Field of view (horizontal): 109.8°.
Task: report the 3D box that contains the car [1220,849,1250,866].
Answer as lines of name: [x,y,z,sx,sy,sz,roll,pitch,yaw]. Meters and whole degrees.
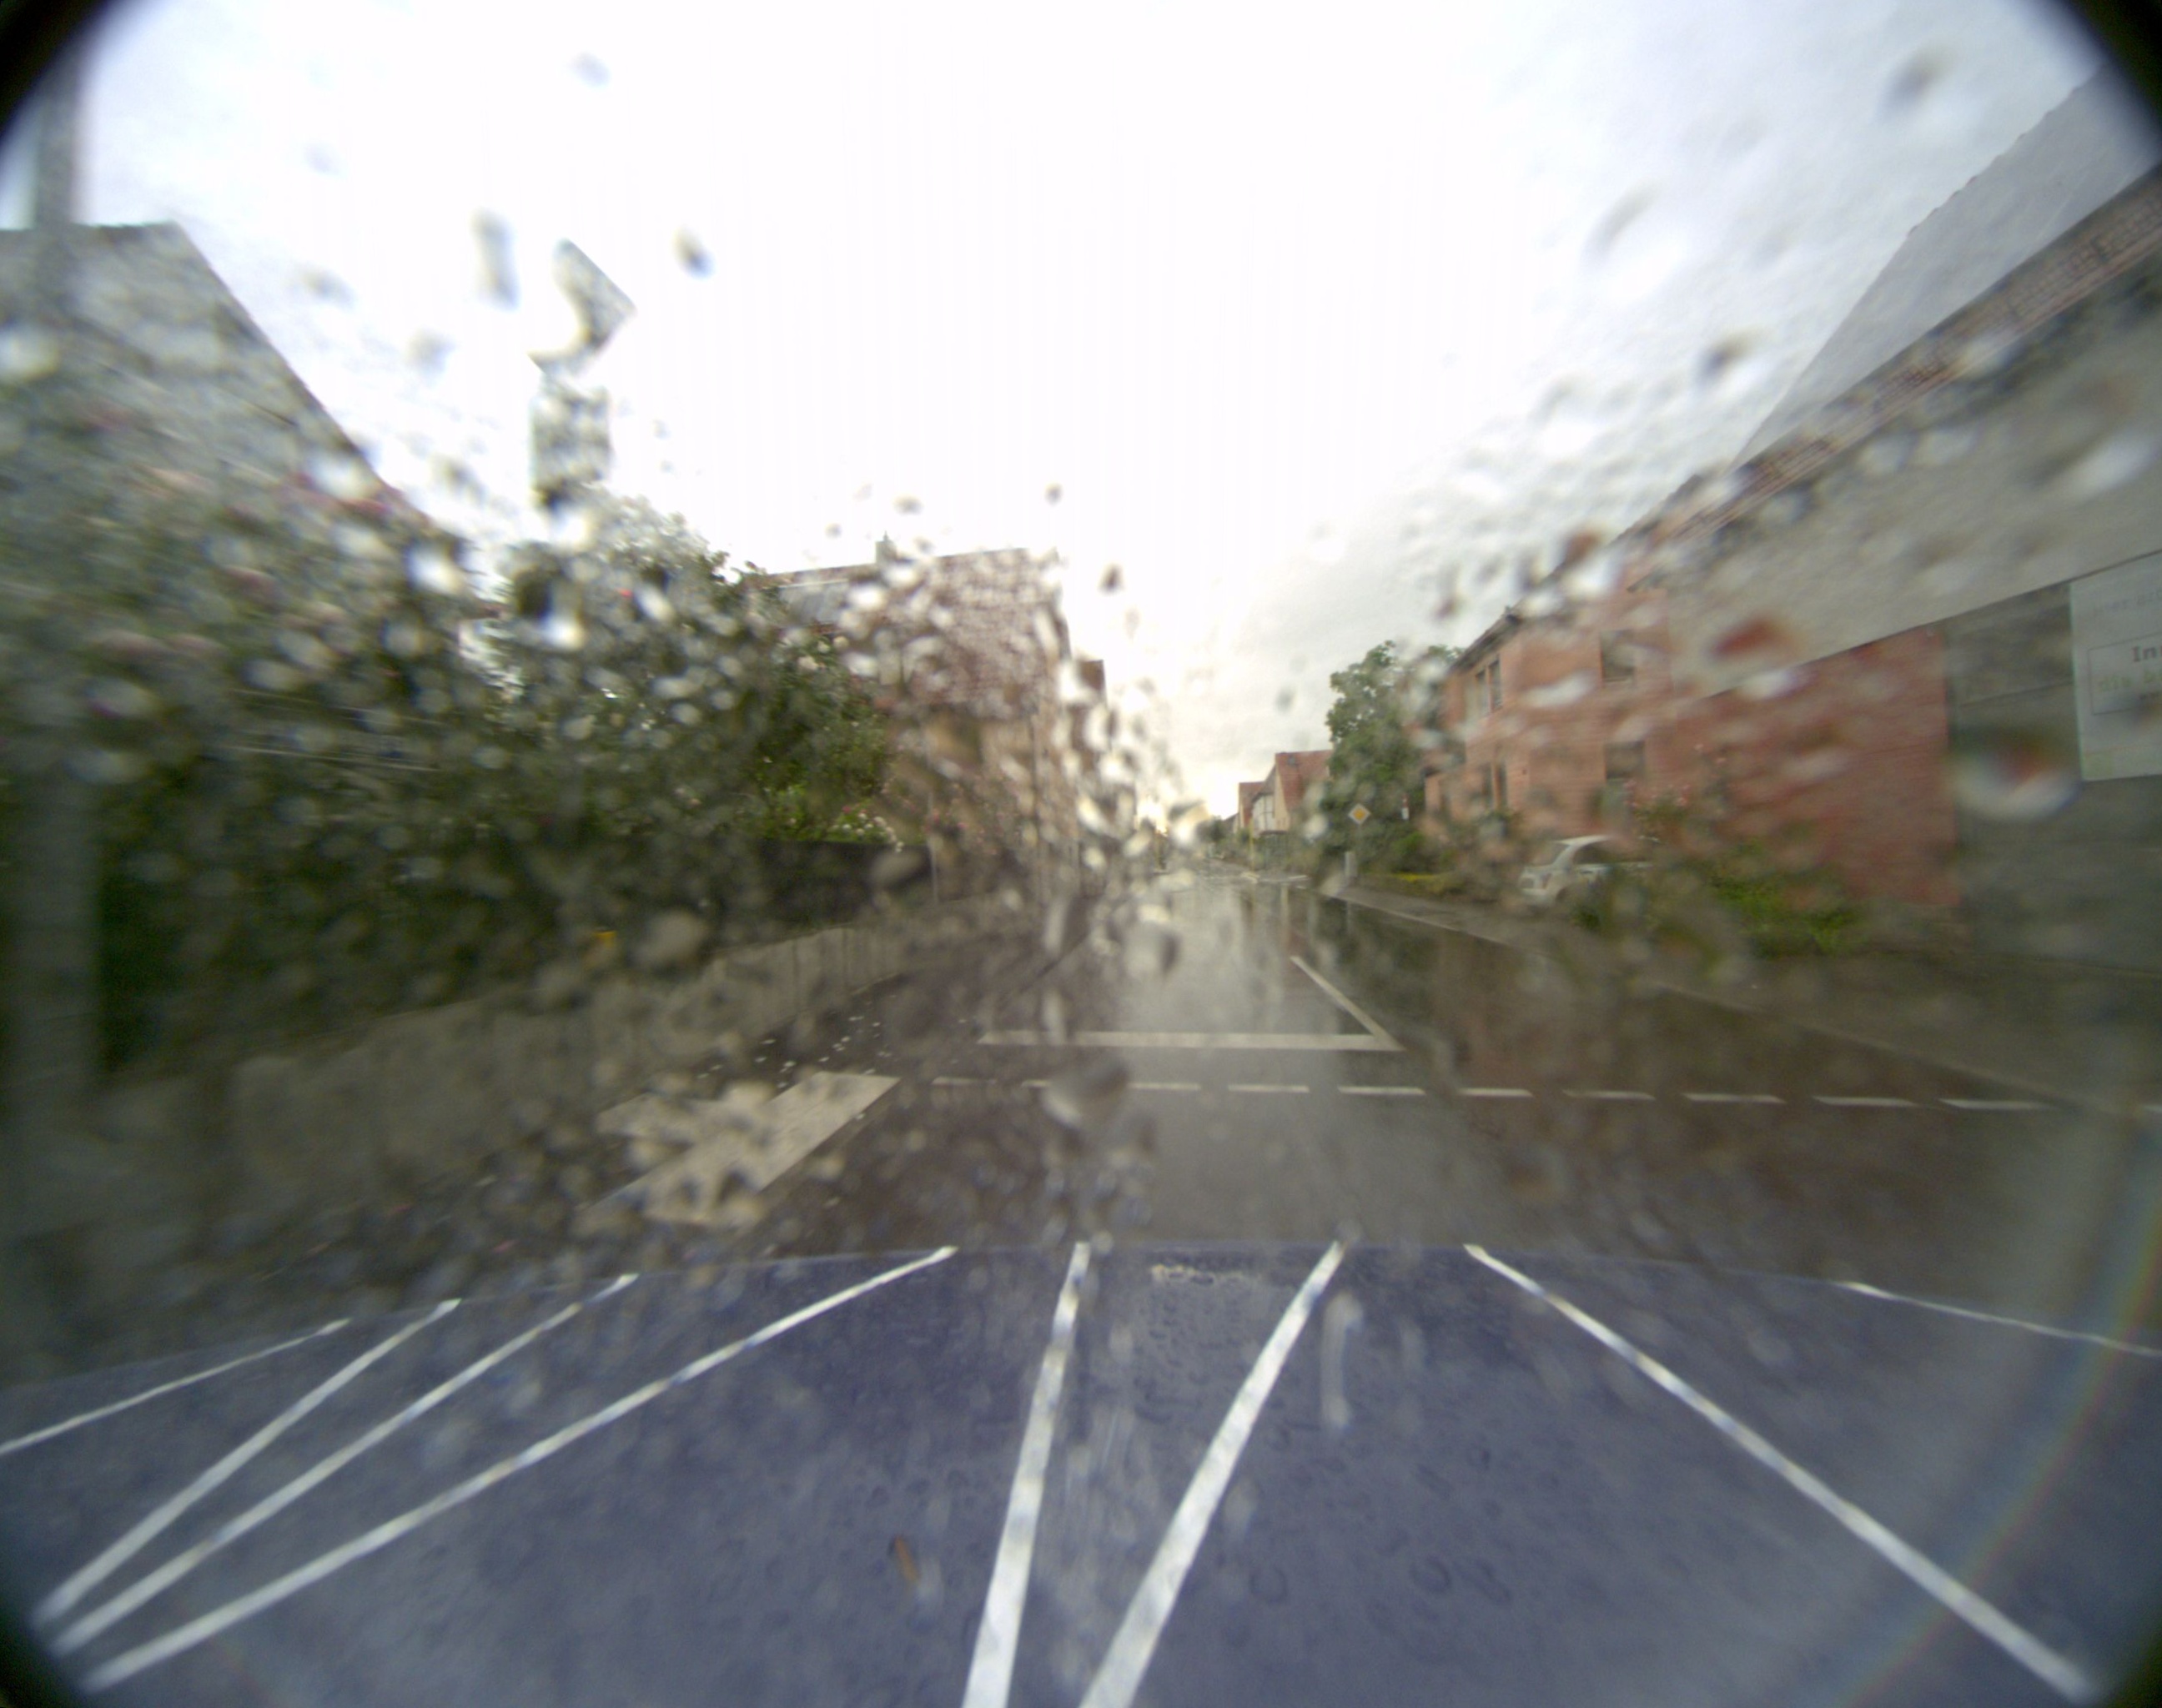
car: [23.955,0.600,118.184,3.995,1.964,1.874,10,1,4]

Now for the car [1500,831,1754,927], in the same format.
car: [10.389,0.471,14.709,3.552,1.520,1.664,-4,0,8]

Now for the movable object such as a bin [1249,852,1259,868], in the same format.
movable object such as a bin: [12.541,0.446,55.067,0.554,1.076,0.528,-6,0,9]

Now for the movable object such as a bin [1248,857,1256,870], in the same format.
movable object such as a bin: [12.294,0.676,54.538,0.469,0.933,0.455,-6,-2,9]
